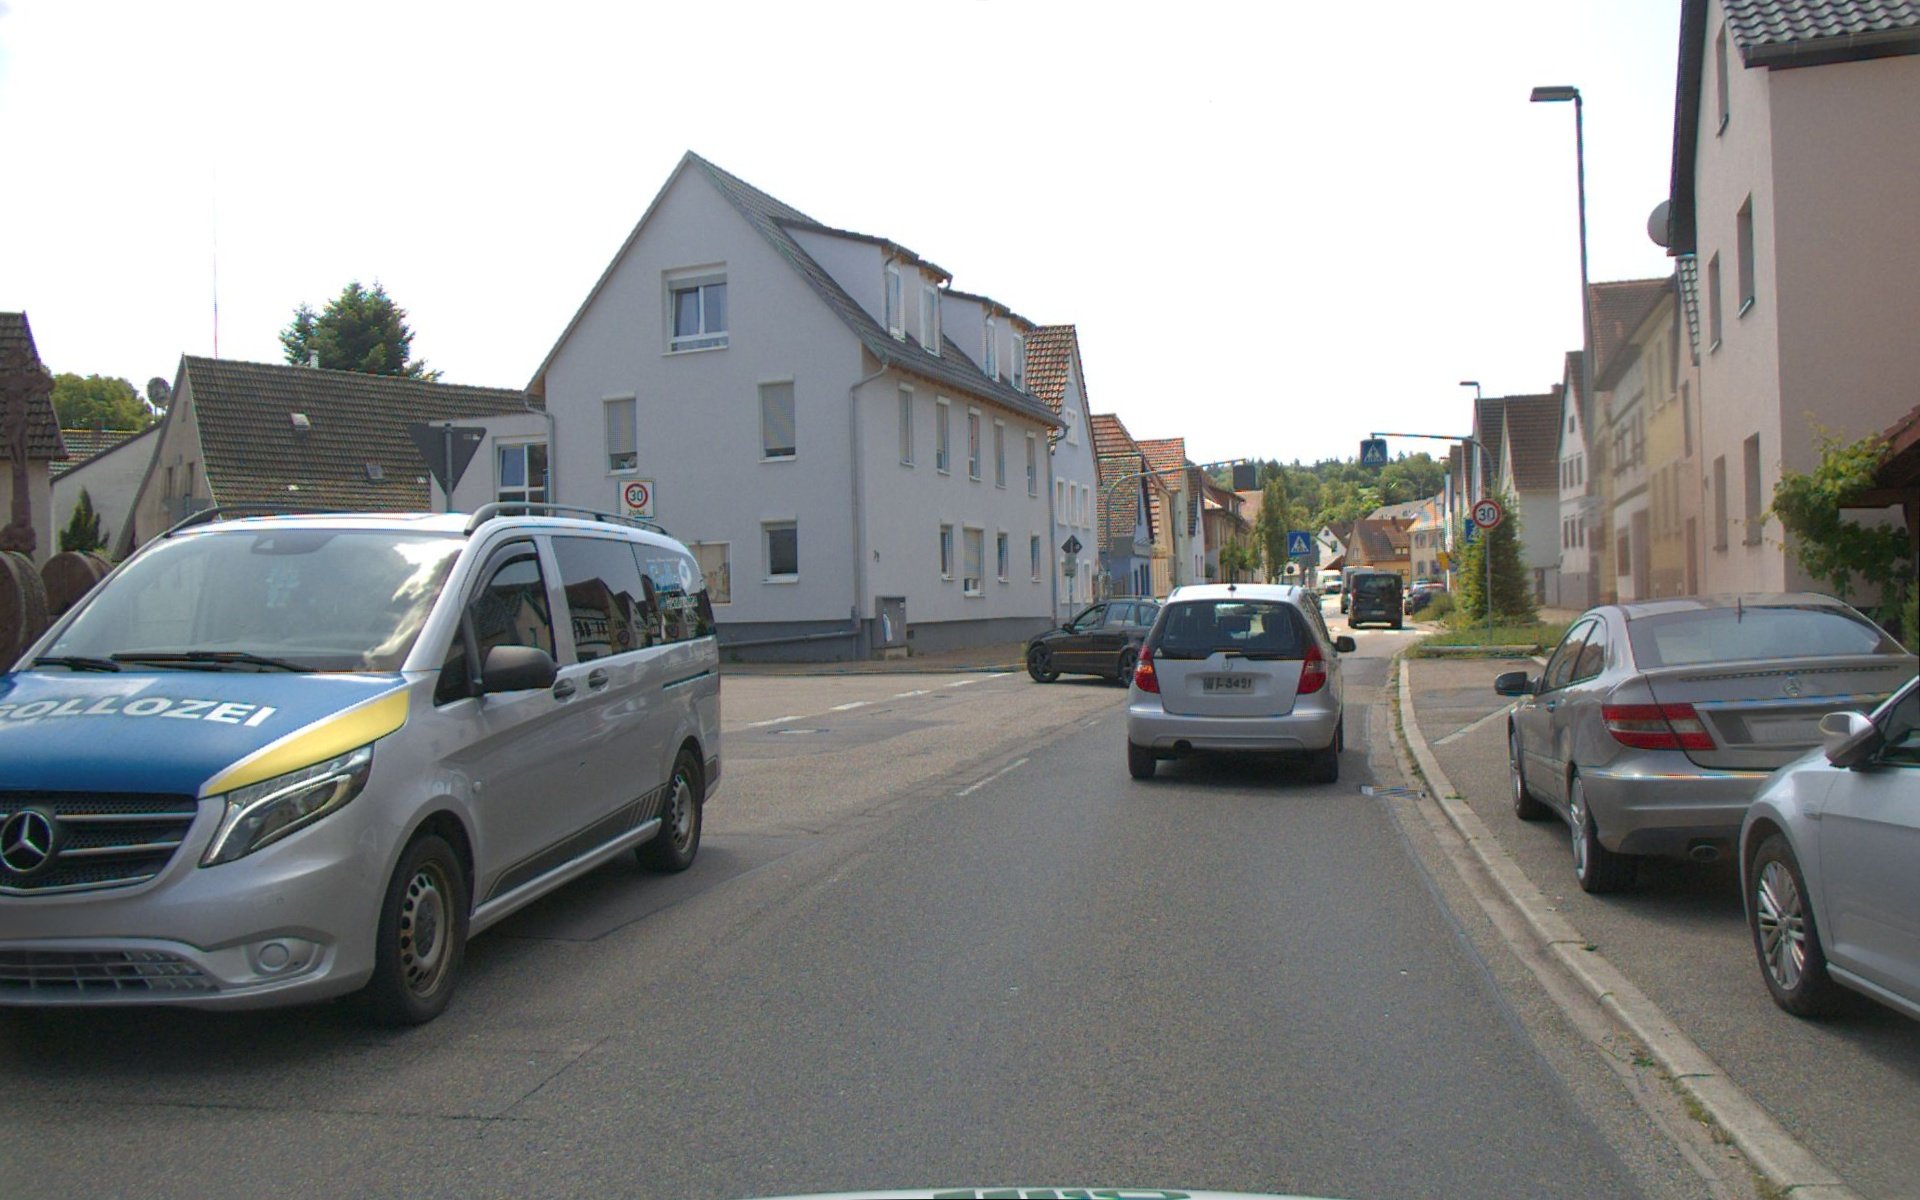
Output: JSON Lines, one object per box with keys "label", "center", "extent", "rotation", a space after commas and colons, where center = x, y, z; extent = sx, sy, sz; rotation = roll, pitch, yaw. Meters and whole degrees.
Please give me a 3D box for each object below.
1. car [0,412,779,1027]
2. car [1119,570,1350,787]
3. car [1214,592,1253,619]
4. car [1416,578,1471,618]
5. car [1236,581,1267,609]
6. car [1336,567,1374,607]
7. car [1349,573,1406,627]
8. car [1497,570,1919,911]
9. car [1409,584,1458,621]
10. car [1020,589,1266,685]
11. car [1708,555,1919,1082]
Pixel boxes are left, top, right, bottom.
{"label": "car", "center": [-2.477, 0.424, 7.540], "extent": [1.951, 1.831, 4.939], "rotation": [-1, -2, 10]}
{"label": "car", "center": [2.575, 0.610, 14.832], "extent": [1.772, 1.672, 3.732], "rotation": [1, 0, 13]}
{"label": "car", "center": [14.397, 0.293, 87.153], "extent": [1.951, 1.344, 3.711], "rotation": [-1, -2, 9]}
{"label": "car", "center": [19.632, -0.055, 67.248], "extent": [1.951, 1.534, 4.003], "rotation": [-1, -2, 14]}
{"label": "car", "center": [18.529, -0.314, 105.004], "extent": [1.631, 1.624, 4.003], "rotation": [-1, -2, 14]}
{"label": "car", "center": [21.922, -0.679, 91.748], "extent": [1.951, 2.049, 4.003], "rotation": [-1, -2, 14]}
{"label": "car", "center": [15.297, 0.028, 60.775], "extent": [1.951, 1.848, 4.003], "rotation": [-1, -2, 13]}
{"label": "car", "center": [4.205, 0.650, 9.359], "extent": [1.732, 1.424, 4.428], "rotation": [-4, -2, 13]}
{"label": "car", "center": [21.188, 0.118, 74.081], "extent": [1.951, 1.534, 4.003], "rotation": [-1, -2, 14]}
{"label": "car", "center": [2.888, 0.623, 27.171], "extent": [1.787, 1.436, 4.594], "rotation": [1, -2, -28]}
{"label": "car", "center": [3.647, 0.586, 4.152], "extent": [1.845, 1.556, 4.338], "rotation": [-4, -1, 6]}
